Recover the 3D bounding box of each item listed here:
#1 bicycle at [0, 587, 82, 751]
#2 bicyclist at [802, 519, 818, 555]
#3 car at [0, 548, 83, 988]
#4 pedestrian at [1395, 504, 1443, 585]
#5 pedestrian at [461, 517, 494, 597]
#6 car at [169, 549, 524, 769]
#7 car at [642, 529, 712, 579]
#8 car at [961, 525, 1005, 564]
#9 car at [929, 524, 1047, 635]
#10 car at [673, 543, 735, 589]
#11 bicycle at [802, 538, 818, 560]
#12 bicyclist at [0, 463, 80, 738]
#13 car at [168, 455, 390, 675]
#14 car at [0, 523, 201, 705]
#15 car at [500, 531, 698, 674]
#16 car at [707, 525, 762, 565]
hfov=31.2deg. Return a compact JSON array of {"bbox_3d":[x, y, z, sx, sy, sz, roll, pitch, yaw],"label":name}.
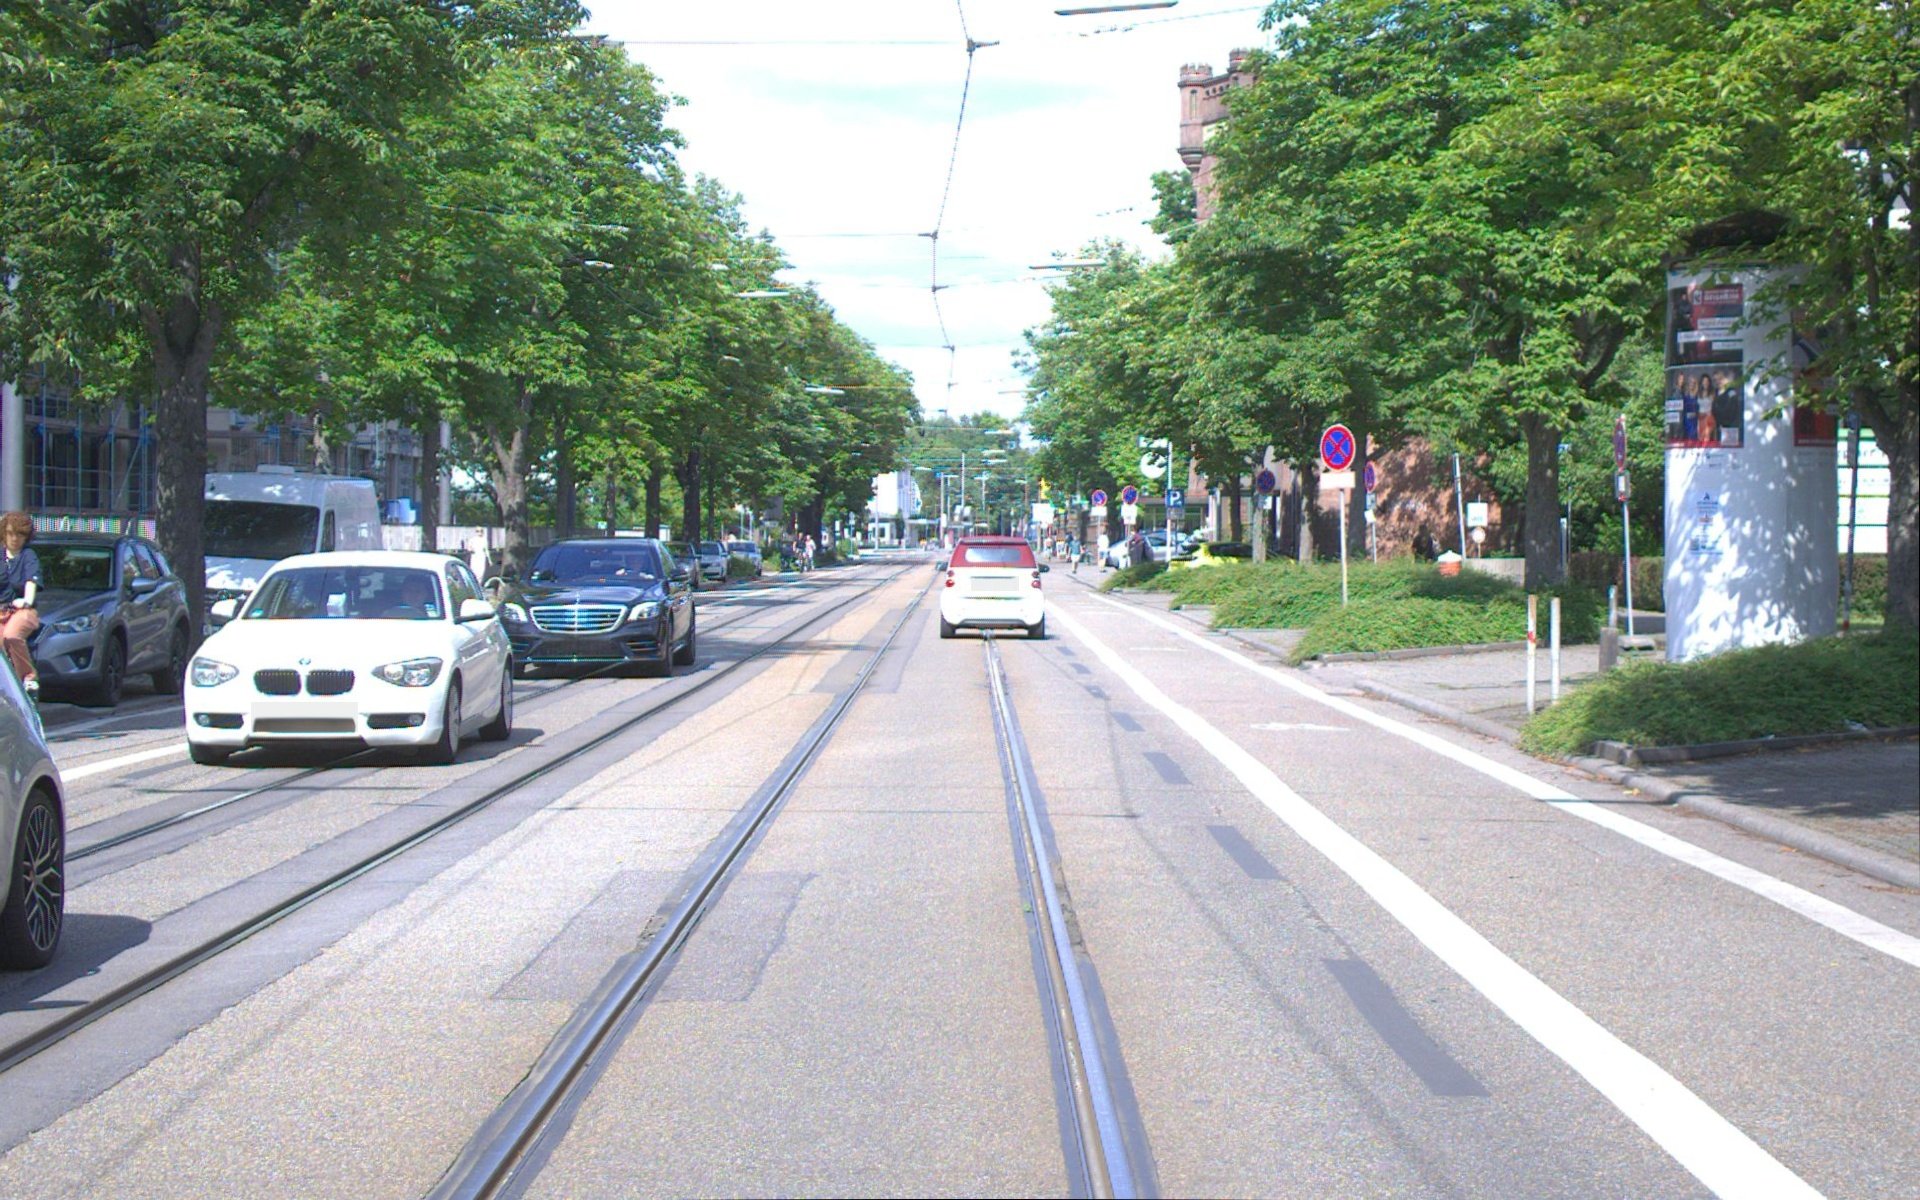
[{"bbox_3d":[-7.126,0.501,25.612,0.643,1.162,1.944,-3,0,-1],"label":"bicycle"},{"bbox_3d":[-6.566,-2.770,150.826,0.658,1.574,0.946,1,1,-1],"label":"bicyclist"},{"bbox_3d":[-3.961,0.566,10.171,1.773,1.411,3.852,-1,1,-1],"label":"car"},{"bbox_3d":[11.572,-1.399,86.712,0.977,2.007,1.093,2,1,-1],"label":"pedestrian"},{"bbox_3d":[-12.242,-1.086,87.178,0.802,2.007,0.485,0,1,-9],"label":"pedestrian"},{"bbox_3d":[-4.182,0.347,24.047,1.686,1.401,4.227,0,1,1],"label":"car"},{"bbox_3d":[-8.834,-1.448,107.565,1.804,1.511,4.103,1,1,0],"label":"car"},{"bbox_3d":[0.906,-2.214,136.157,1.665,1.487,3.621,0,2,-1],"label":"car"},{"bbox_3d":[0.397,-0.346,52.580,1.665,1.619,3.621,0,2,-2],"label":"car"},{"bbox_3d":[-8.908,-1.212,119.843,1.804,1.511,4.103,2,1,0],"label":"car"},{"bbox_3d":[-6.578,-2.237,150.795,0.618,0.970,1.717,1,1,-1],"label":"bicycle"},{"bbox_3d":[-7.109,0.010,25.549,0.876,2.007,0.834,-2,0,-1],"label":"bicyclist"},{"bbox_3d":[-8.764,-0.464,44.669,1.769,2.630,5.322,2,1,0],"label":"car"},{"bbox_3d":[-8.889,0.090,34.004,1.804,1.656,4.103,2,1,0],"label":"car"},{"bbox_3d":[-4.021,-0.006,38.906,1.800,1.503,4.536,1,1,-1],"label":"car"},{"bbox_3d":[-8.678,-2.142,132.583,1.804,1.511,4.103,1,1,0],"label":"car"}]
